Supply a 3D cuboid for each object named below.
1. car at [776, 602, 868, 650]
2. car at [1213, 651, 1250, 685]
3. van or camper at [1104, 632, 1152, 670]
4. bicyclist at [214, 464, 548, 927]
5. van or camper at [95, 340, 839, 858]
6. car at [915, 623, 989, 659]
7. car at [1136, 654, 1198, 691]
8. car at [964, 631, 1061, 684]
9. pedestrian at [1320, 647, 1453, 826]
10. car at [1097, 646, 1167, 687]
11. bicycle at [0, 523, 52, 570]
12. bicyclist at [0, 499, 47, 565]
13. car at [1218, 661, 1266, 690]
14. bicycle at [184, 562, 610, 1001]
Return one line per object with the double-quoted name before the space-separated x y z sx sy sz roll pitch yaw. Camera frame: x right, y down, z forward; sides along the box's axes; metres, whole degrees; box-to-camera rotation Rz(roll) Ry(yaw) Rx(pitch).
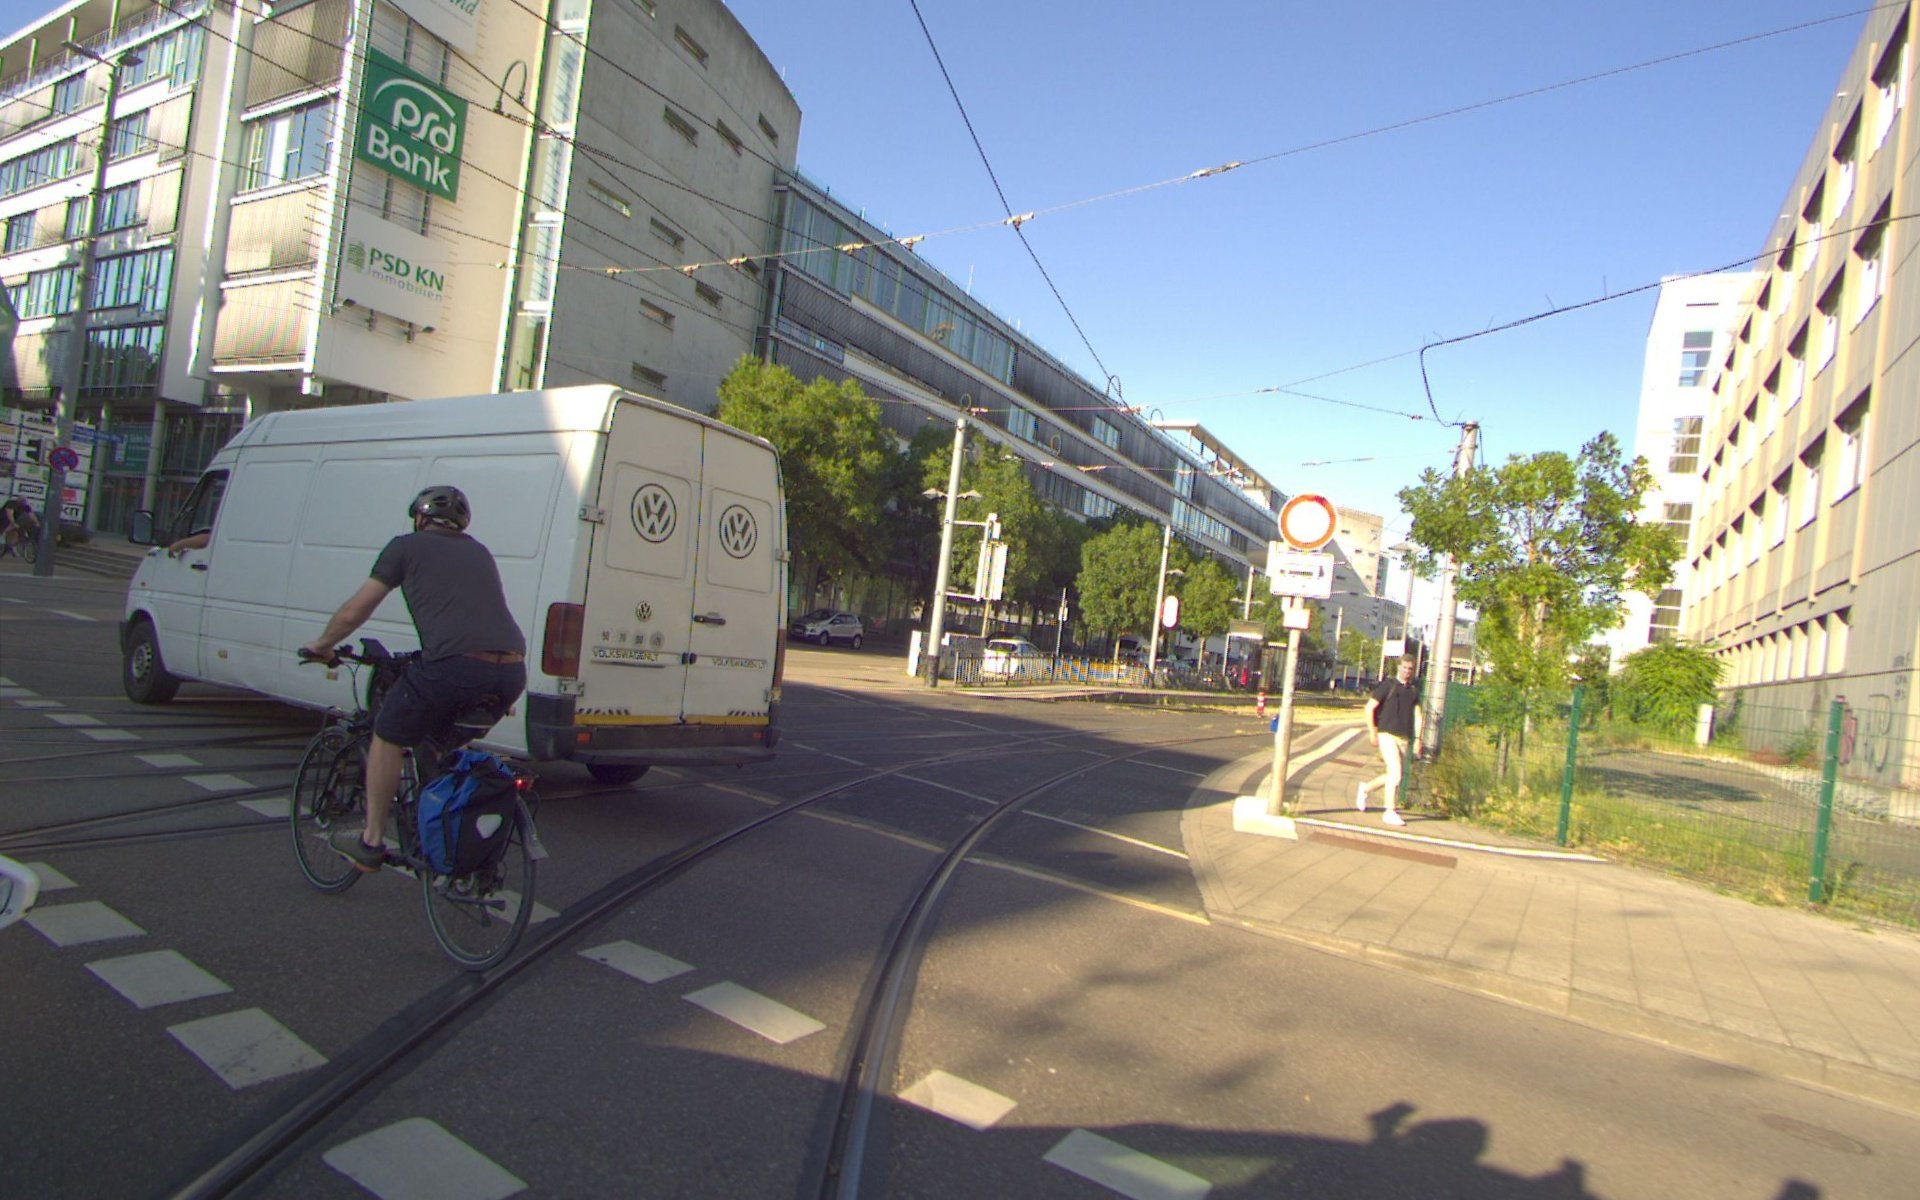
"car" -6.228 1.233 45.824 1.954 1.715 3.995 7 -2 31
"car" 25.595 6.434 94.731 2.020 2.703 5.019 6 -3 28
"van or camper" 13.193 4.028 78.777 1.954 2.533 4.396 7 -1 31
"bicyclist" -2.365 0.322 4.094 1.072 1.622 0.650 6 -1 36
"van or camper" -4.123 -0.185 7.806 6.202 2.747 1.973 6 -2 33
"car" -0.393 2.309 55.724 1.954 1.512 4.396 7 -2 31
"car" 11.293 3.974 54.712 1.967 1.620 3.995 6 -2 31
"car" 2.082 2.237 38.595 1.967 1.631 3.995 6 -2 31
"pedestrian" 4.781 1.502 11.339 0.725 1.833 1.080 7 -2 -12
"car" 8.480 3.301 49.475 1.967 1.620 3.995 6 -2 31
"bicycle" -25.339 -1.456 26.767 1.718 1.113 0.698 6 2 2
"bicyclist" -25.202 -1.818 26.744 1.068 1.623 0.724 6 1 2
"car" 18.891 5.075 67.252 1.967 1.620 3.995 6 -2 31
"bicycle" -2.345 0.593 4.072 1.936 1.296 0.650 6 -1 37
